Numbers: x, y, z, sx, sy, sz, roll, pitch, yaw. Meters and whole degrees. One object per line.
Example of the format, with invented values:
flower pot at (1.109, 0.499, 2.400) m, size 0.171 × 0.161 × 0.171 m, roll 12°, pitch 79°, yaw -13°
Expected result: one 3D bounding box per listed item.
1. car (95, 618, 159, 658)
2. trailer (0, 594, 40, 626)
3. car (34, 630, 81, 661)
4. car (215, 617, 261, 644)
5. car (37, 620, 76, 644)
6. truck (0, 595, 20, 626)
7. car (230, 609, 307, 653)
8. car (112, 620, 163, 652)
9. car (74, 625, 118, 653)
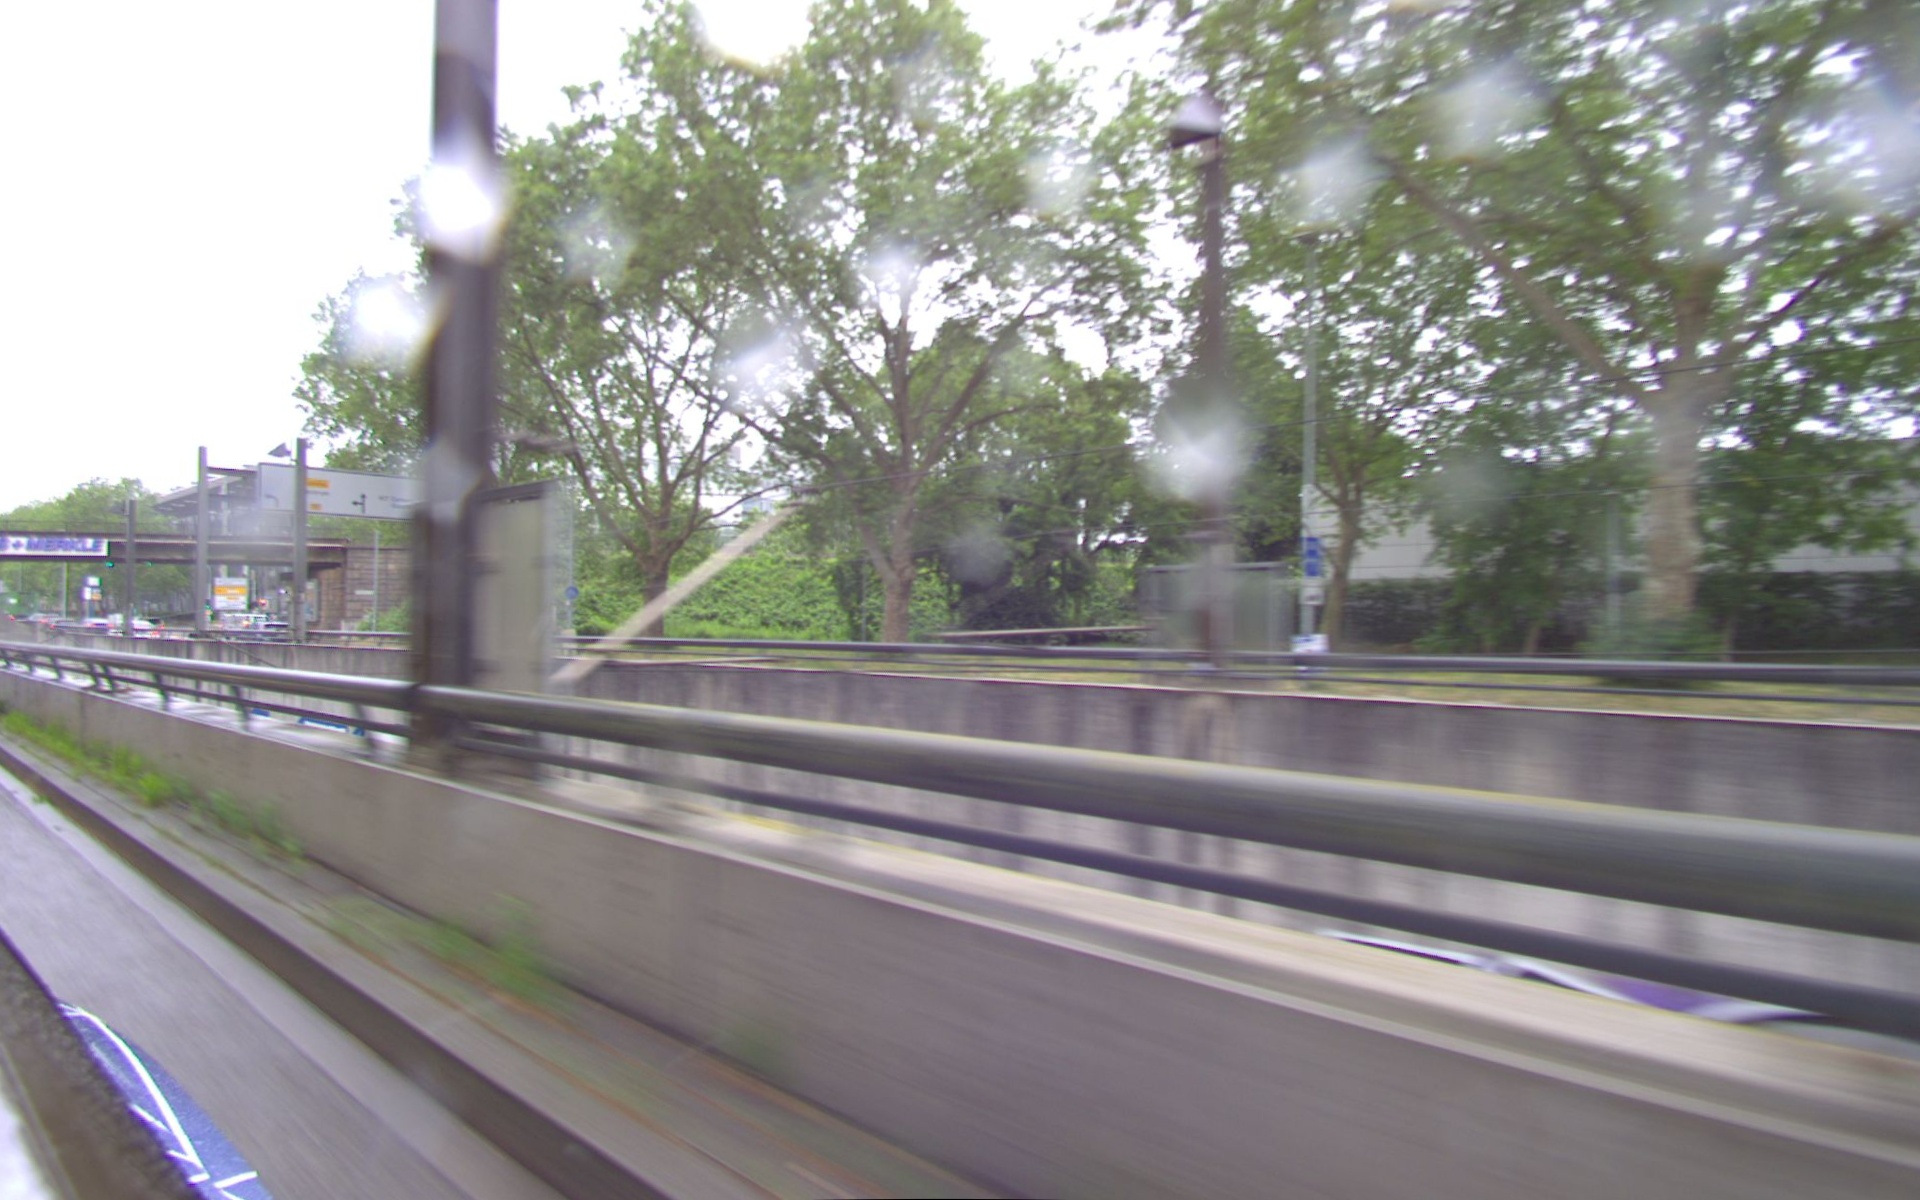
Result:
car at (-46.022, 2.058, 55.859) m, size 4.613 × 2.029 × 1.973 m, roll -1°, pitch 0°, yaw 41°
trailer at (-102.859, 1.127, 109.164) m, size 11.102 × 3.284 × 3.292 m, roll -1°, pitch 0°, yaw 37°
car at (-63.842, 3.163, 71.538) m, size 3.998 × 2.029 × 1.973 m, roll -1°, pitch 0°, yaw 41°
car at (-56.192, 2.356, 78.718) m, size 4.194 × 2.029 × 1.973 m, roll -1°, pitch 0°, yaw 41°
car at (-76.881, 2.673, 86.091) m, size 4.365 × 1.944 × 1.973 m, roll -1°, pitch 0°, yaw 41°
truck at (-107.922, 1.218, 112.918) m, size 6.512 × 3.334 × 3.344 m, roll -1°, pitch 0°, yaw 36°
car at (-33.620, 1.475, 49.173) m, size 4.508 × 2.029 × 1.973 m, roll -1°, pitch 0°, yaw 41°
car at (-54.987, 2.356, 67.650) m, size 3.998 × 2.029 × 1.973 m, roll -1°, pitch 0°, yaw 41°
car at (-67.993, 3.040, 79.617) m, size 4.508 × 2.029 × 1.973 m, roll -1°, pitch 0°, yaw 41°
